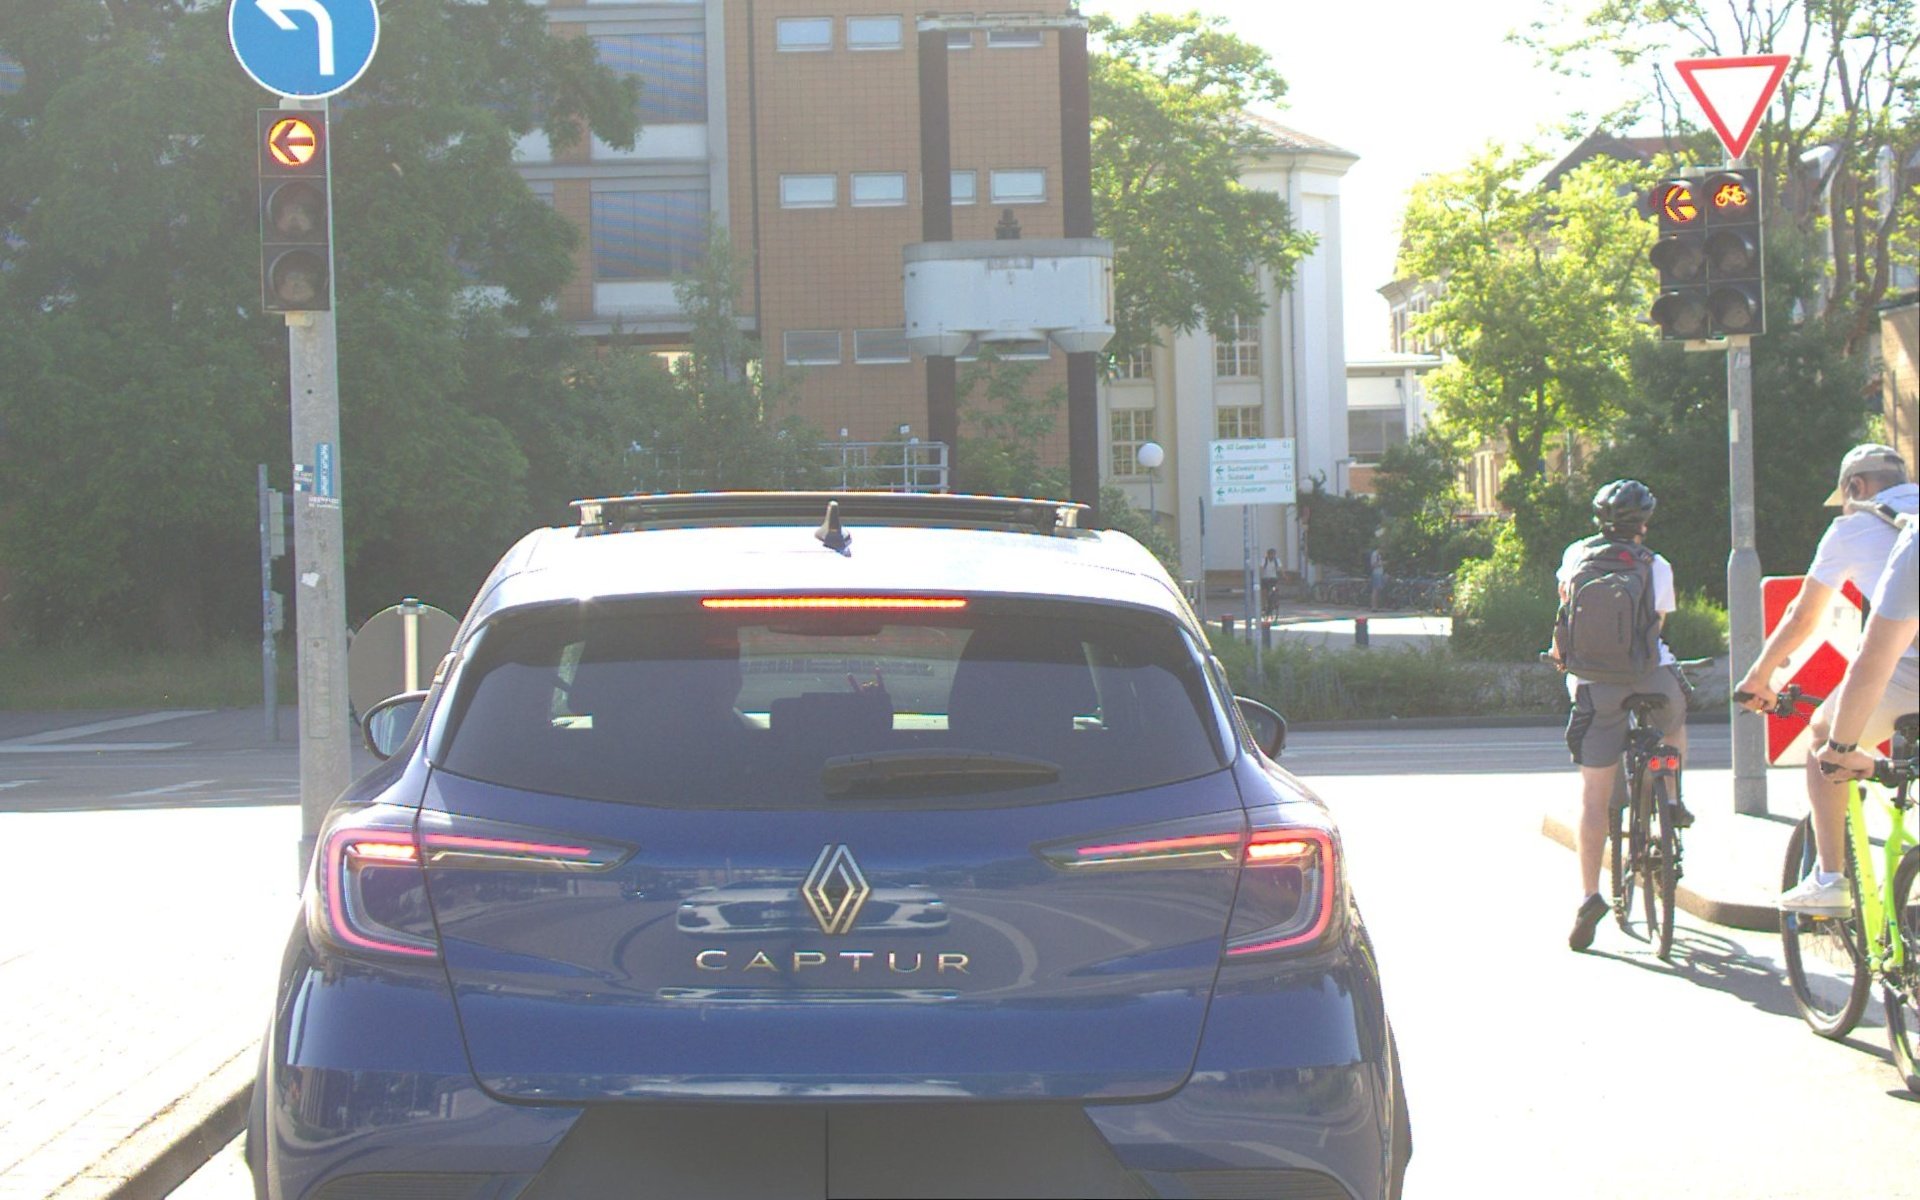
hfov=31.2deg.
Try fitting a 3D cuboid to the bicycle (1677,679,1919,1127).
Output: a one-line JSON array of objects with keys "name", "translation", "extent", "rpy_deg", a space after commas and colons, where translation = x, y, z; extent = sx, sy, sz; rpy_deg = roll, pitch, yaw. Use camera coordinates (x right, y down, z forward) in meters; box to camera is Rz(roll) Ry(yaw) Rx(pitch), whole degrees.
[{"name": "bicycle", "translation": [2.605, 0.803, 9.825], "extent": [0.689, 1.085, 1.922], "rpy_deg": [0, 1, -1]}]

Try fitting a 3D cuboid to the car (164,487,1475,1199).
[{"name": "car", "translation": [-0.268, 0.613, 6.657], "extent": [1.788, 1.580, 3.915], "rpy_deg": [0, 1, -2]}]

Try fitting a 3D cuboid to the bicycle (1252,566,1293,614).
[{"name": "bicycle", "translation": [7.536, -0.254, 82.928], "extent": [0.694, 1.136, 2.441], "rpy_deg": [-1, 1, -1]}]

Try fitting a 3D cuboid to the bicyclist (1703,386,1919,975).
[{"name": "bicyclist", "translation": [2.595, 0.209, 9.837], "extent": [0.678, 1.589, 1.142], "rpy_deg": [0, 1, -1]}]

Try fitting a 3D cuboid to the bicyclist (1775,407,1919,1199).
[{"name": "bicyclist", "translation": [2.225, 0.504, 7.345], "extent": [0.683, 1.785, 1.142], "rpy_deg": [0, 1, -1]}]

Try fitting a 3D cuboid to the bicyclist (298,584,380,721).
[{"name": "bicyclist", "translation": [-7.903, 0.661, 43.803], "extent": [0.755, 1.710, 0.998], "rpy_deg": [-1, 1, 5]}]

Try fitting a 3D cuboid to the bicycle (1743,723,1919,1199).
[{"name": "bicycle", "translation": [2.234, 0.849, 7.285], "extent": [0.689, 1.085, 1.922], "rpy_deg": [0, 1, -1]}]

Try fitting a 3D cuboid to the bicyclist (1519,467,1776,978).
[{"name": "bicyclist", "translation": [2.497, 0.421, 12.593], "extent": [0.699, 1.785, 1.142], "rpy_deg": [0, 1, -1]}]

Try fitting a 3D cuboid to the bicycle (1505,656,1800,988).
[{"name": "bicycle", "translation": [2.536, 0.779, 12.791], "extent": [0.689, 1.085, 1.922], "rpy_deg": [0, 1, -1]}]

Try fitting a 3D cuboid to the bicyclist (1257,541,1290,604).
[{"name": "bicyclist", "translation": [7.542, -0.664, 82.796], "extent": [0.694, 1.476, 0.717], "rpy_deg": [-1, 1, -1]}]

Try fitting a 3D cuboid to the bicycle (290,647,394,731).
[{"name": "bicycle", "translation": [-7.883, 1.123, 43.914], "extent": [0.755, 0.981, 2.093], "rpy_deg": [-1, 1, 5]}]
